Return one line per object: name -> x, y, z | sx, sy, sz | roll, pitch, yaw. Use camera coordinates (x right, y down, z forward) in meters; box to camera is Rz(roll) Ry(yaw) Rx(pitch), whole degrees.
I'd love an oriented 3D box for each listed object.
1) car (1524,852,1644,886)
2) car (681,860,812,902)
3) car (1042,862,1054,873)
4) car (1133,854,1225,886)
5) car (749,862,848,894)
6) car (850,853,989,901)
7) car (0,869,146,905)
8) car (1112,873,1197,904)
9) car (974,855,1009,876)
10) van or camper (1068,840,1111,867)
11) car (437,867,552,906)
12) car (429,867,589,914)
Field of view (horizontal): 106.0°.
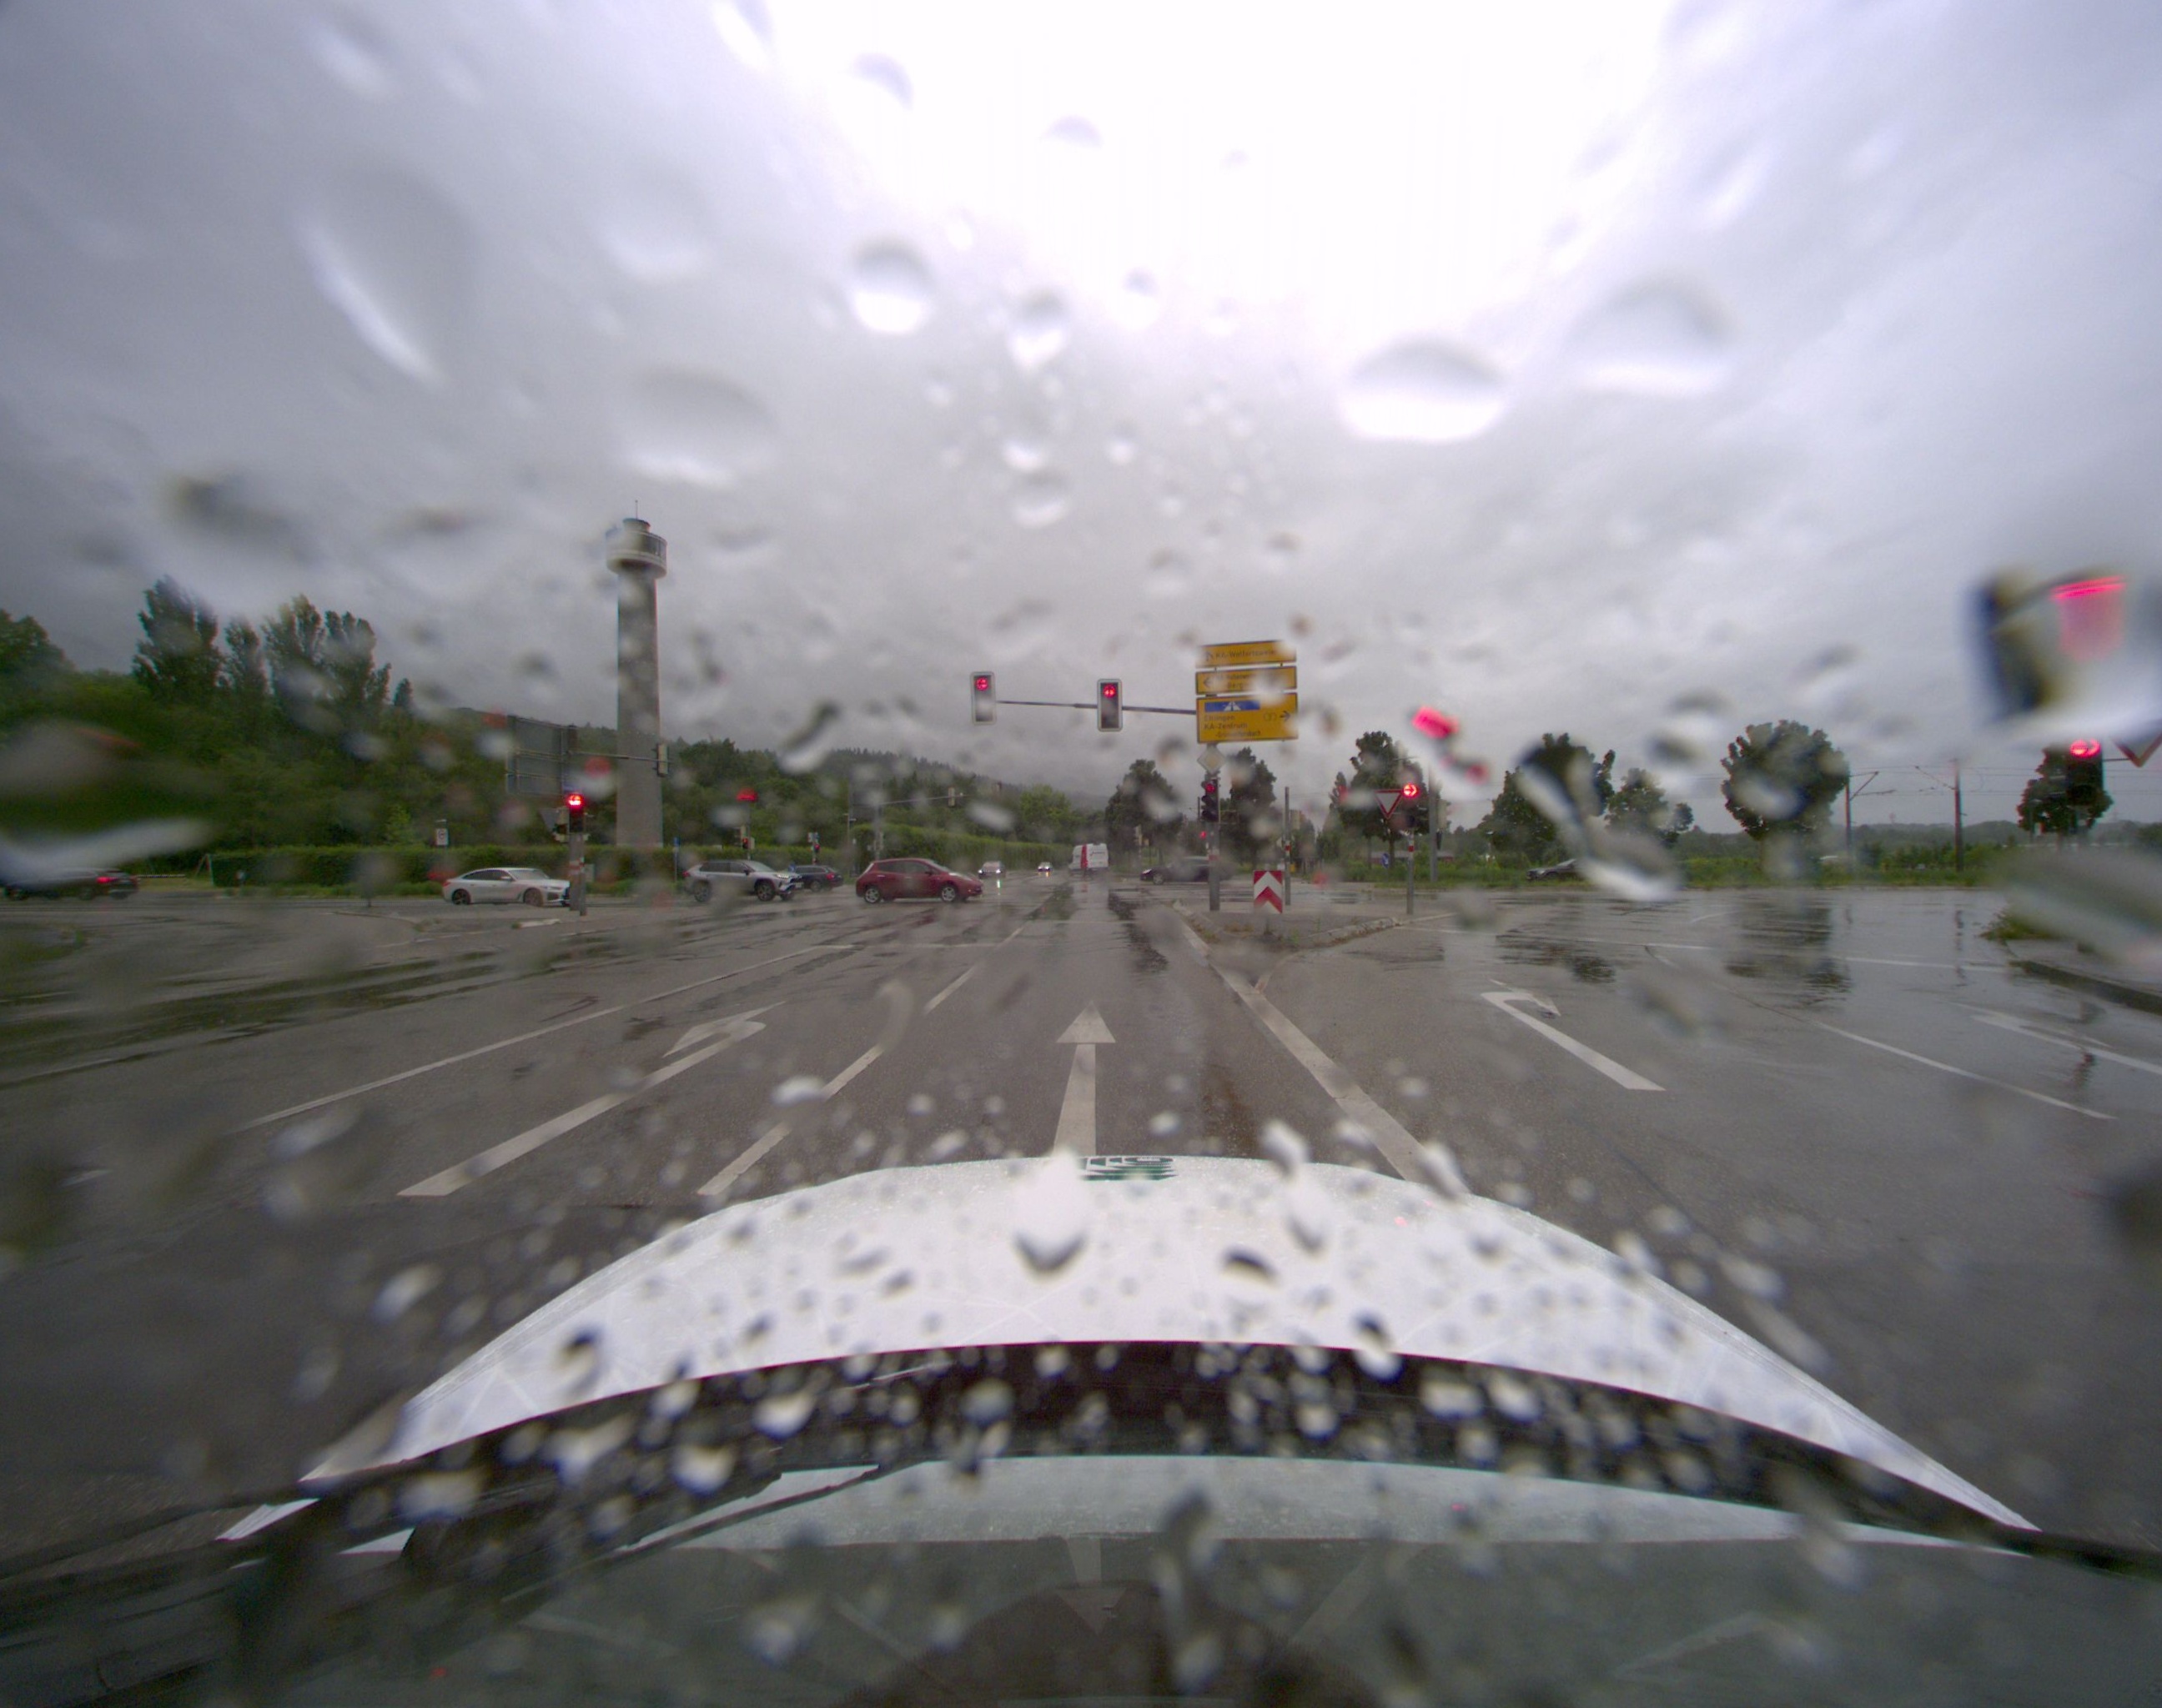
car -> 24.479, 0.727, 39.760 | 4.642, 1.553, 1.827 | -1, 0, 9
car -> -13.339, 1.059, 32.606 | 4.500, 1.579, 1.917 | 0, 0, 9
car -> -4.700, 1.904, 115.631 | 1.553, 1.481, 3.361 | -1, 0, 1
car -> 5.046, 0.814, 42.300 | 4.648, 1.553, 1.825 | -1, 0, 4
car -> -15.250, 1.273, 44.046 | 4.652, 1.553, 1.823 | -1, 0, 1
car -> -5.553, 0.785, 28.276 | 4.352, 1.579, 1.736 | -1, 0, 7
car -> -51.981, 1.683, 42.070 | 4.669, 1.639, 1.816 | -1, 0, -10
car -> 4.126, 1.944, 46.007 | 4.647, 1.553, 1.825 | -1, 0, 5
car -> -7.395, 0.935, 67.845 | 1.869, 1.573, 4.652 | -3, 0, 6
van or camper -> 0.677, -0.035, 68.100 | 2.159, 2.169, 4.836 | -1, 0, -18
car -> -31.790, 1.749, 44.241 | 4.663, 1.915, 1.911 | -1, 0, -6
car -> -20.991, 1.327, 29.970 | 4.854, 1.553, 1.803 | -1, 0, 8
